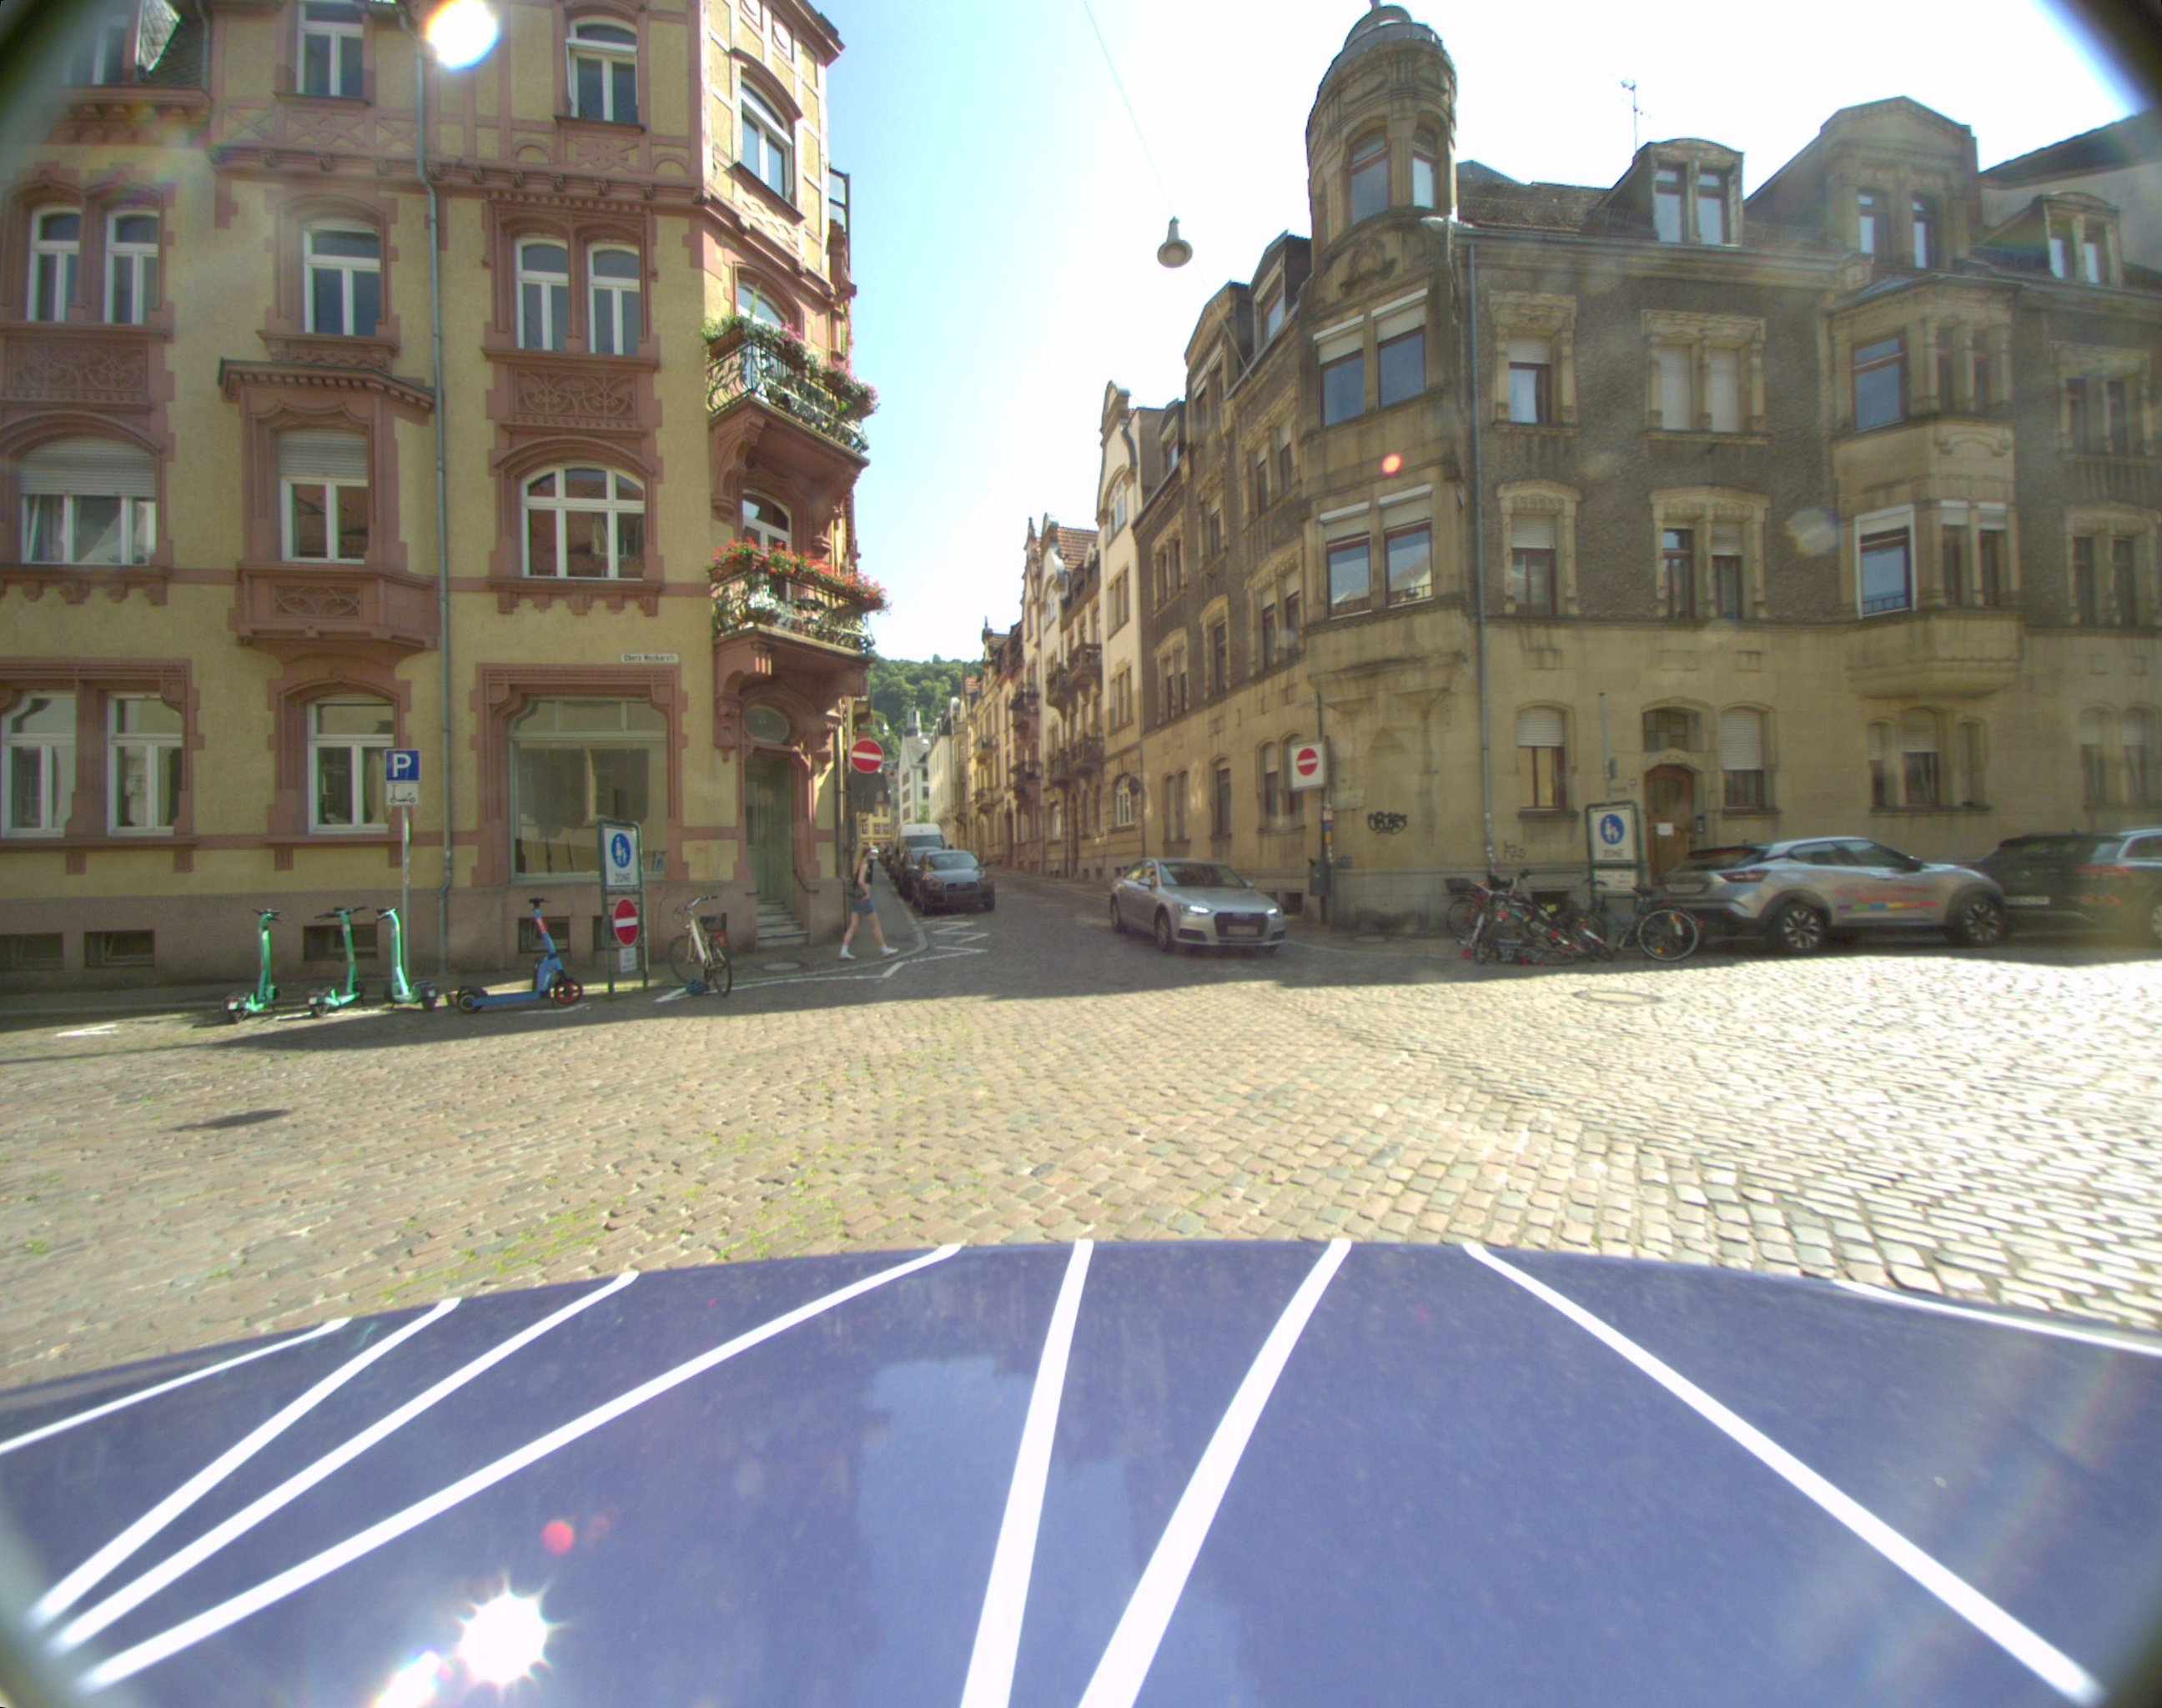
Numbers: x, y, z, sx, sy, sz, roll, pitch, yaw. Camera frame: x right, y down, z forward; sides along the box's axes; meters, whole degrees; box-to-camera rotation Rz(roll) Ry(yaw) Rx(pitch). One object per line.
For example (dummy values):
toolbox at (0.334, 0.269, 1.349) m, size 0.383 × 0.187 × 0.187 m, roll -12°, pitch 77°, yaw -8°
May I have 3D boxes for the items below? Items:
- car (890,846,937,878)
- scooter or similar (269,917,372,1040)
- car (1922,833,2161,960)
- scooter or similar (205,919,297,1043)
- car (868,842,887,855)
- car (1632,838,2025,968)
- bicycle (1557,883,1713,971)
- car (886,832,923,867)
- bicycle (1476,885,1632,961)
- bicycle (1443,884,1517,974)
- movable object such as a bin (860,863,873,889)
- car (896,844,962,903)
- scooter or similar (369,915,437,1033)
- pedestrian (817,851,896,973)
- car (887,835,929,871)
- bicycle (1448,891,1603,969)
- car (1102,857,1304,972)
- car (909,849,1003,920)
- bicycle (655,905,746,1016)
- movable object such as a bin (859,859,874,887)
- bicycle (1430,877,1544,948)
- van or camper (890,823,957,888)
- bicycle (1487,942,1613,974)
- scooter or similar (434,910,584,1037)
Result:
car at (-8.622, 0.421, 38.858) m, size 2.001 × 1.517 × 3.994 m, roll -1°, pitch -1°, yaw -17°
scooter or similar at (-8.562, 1.361, 8.598) m, size 0.413 × 1.202 × 1.232 m, roll -1°, pitch 0°, yaw -25°
car at (14.605, 0.502, 10.536) m, size 3.999 × 1.534 × 1.853 m, roll -3°, pitch -2°, yaw -6°
scooter or similar at (-9.168, 1.361, 8.421) m, size 0.343 × 1.202 × 1.188 m, roll -1°, pitch 0°, yaw -31°
car at (-27.664, -0.758, 103.195) m, size 2.002 × 1.652 × 3.993 m, roll -1°, pitch 0°, yaw -23°
car at (10.260, 0.617, 10.608) m, size 3.928 × 1.535 × 1.852 m, roll -1°, pitch 0°, yaw -7°
bicycle at (7.307, 0.953, 10.112) m, size 0.286 × 1.079 × 1.639 m, roll 1°, pitch -4°, yaw -34°
car at (-11.471, -0.240, 49.252) m, size 2.001 × 2.133 × 3.994 m, roll -1°, pitch -1°, yaw -17°
bicycle at (6.617, 0.945, 10.733) m, size 0.285 × 1.081 × 1.640 m, roll -47°, pitch 12°, yaw -12°
bicycle at (5.495, 0.991, 10.544) m, size 0.285 × 1.079 × 1.643 m, roll -5°, pitch -1°, yaw 8°
movable object such as a bin at (-8.028, 0.806, 28.479) m, size 0.440 × 0.952 × 0.349 m, roll -2°, pitch 0°, yaw -15°
car at (-5.144, 0.563, 25.359) m, size 1.762 × 1.696 × 3.994 m, roll -4°, pitch 2°, yaw -15°
scooter or similar at (-7.671, 1.317, 8.580) m, size 1.187 × 1.202 × 0.343 m, roll -2°, pitch 0°, yaw 38°
pedestrian at (-3.394, 0.856, 11.563) m, size 0.981 × 1.749 × 0.622 m, roll -2°, pitch 3°, yaw -7°
car at (-9.934, -0.015, 43.468) m, size 2.001 × 1.904 × 3.994 m, roll -1°, pitch -1°, yaw -17°
bicycle at (6.139, 1.025, 10.601) m, size 0.285 × 1.081 × 1.640 m, roll -47°, pitch 12°, yaw -12°
car at (1.781, 0.842, 12.726) m, size 1.878 × 1.484 × 4.378 m, roll -2°, pitch 1°, yaw -12°
car at (-3.448, 0.716, 20.261) m, size 1.863 × 1.574 × 4.253 m, roll -3°, pitch 2°, yaw -17°
bicycle at (-4.645, 1.232, 9.219) m, size 0.506 × 1.139 × 1.788 m, roll -1°, pitch 0°, yaw -42°
movable object such as a bin at (-8.343, 0.730, 29.580) m, size 0.518 × 1.083 × 0.421 m, roll -2°, pitch 0°, yaw -15°
bicycle at (6.723, 0.961, 12.605) m, size 1.642 × 1.080 × 0.495 m, roll -1°, pitch 4°, yaw -7°
van or camper at (-6.872, -0.029, 32.553) m, size 2.228 × 2.506 × 6.756 m, roll -1°, pitch 2°, yaw -16°
bicycle at (6.254, 1.385, 10.217) m, size 1.077 × 0.286 × 1.124 m, roll -1°, pitch 0°, yaw 8°
scooter or similar at (-6.151, 1.259, 8.224) m, size 1.192 × 1.228 × 0.442 m, roll -1°, pitch 0°, yaw -20°
